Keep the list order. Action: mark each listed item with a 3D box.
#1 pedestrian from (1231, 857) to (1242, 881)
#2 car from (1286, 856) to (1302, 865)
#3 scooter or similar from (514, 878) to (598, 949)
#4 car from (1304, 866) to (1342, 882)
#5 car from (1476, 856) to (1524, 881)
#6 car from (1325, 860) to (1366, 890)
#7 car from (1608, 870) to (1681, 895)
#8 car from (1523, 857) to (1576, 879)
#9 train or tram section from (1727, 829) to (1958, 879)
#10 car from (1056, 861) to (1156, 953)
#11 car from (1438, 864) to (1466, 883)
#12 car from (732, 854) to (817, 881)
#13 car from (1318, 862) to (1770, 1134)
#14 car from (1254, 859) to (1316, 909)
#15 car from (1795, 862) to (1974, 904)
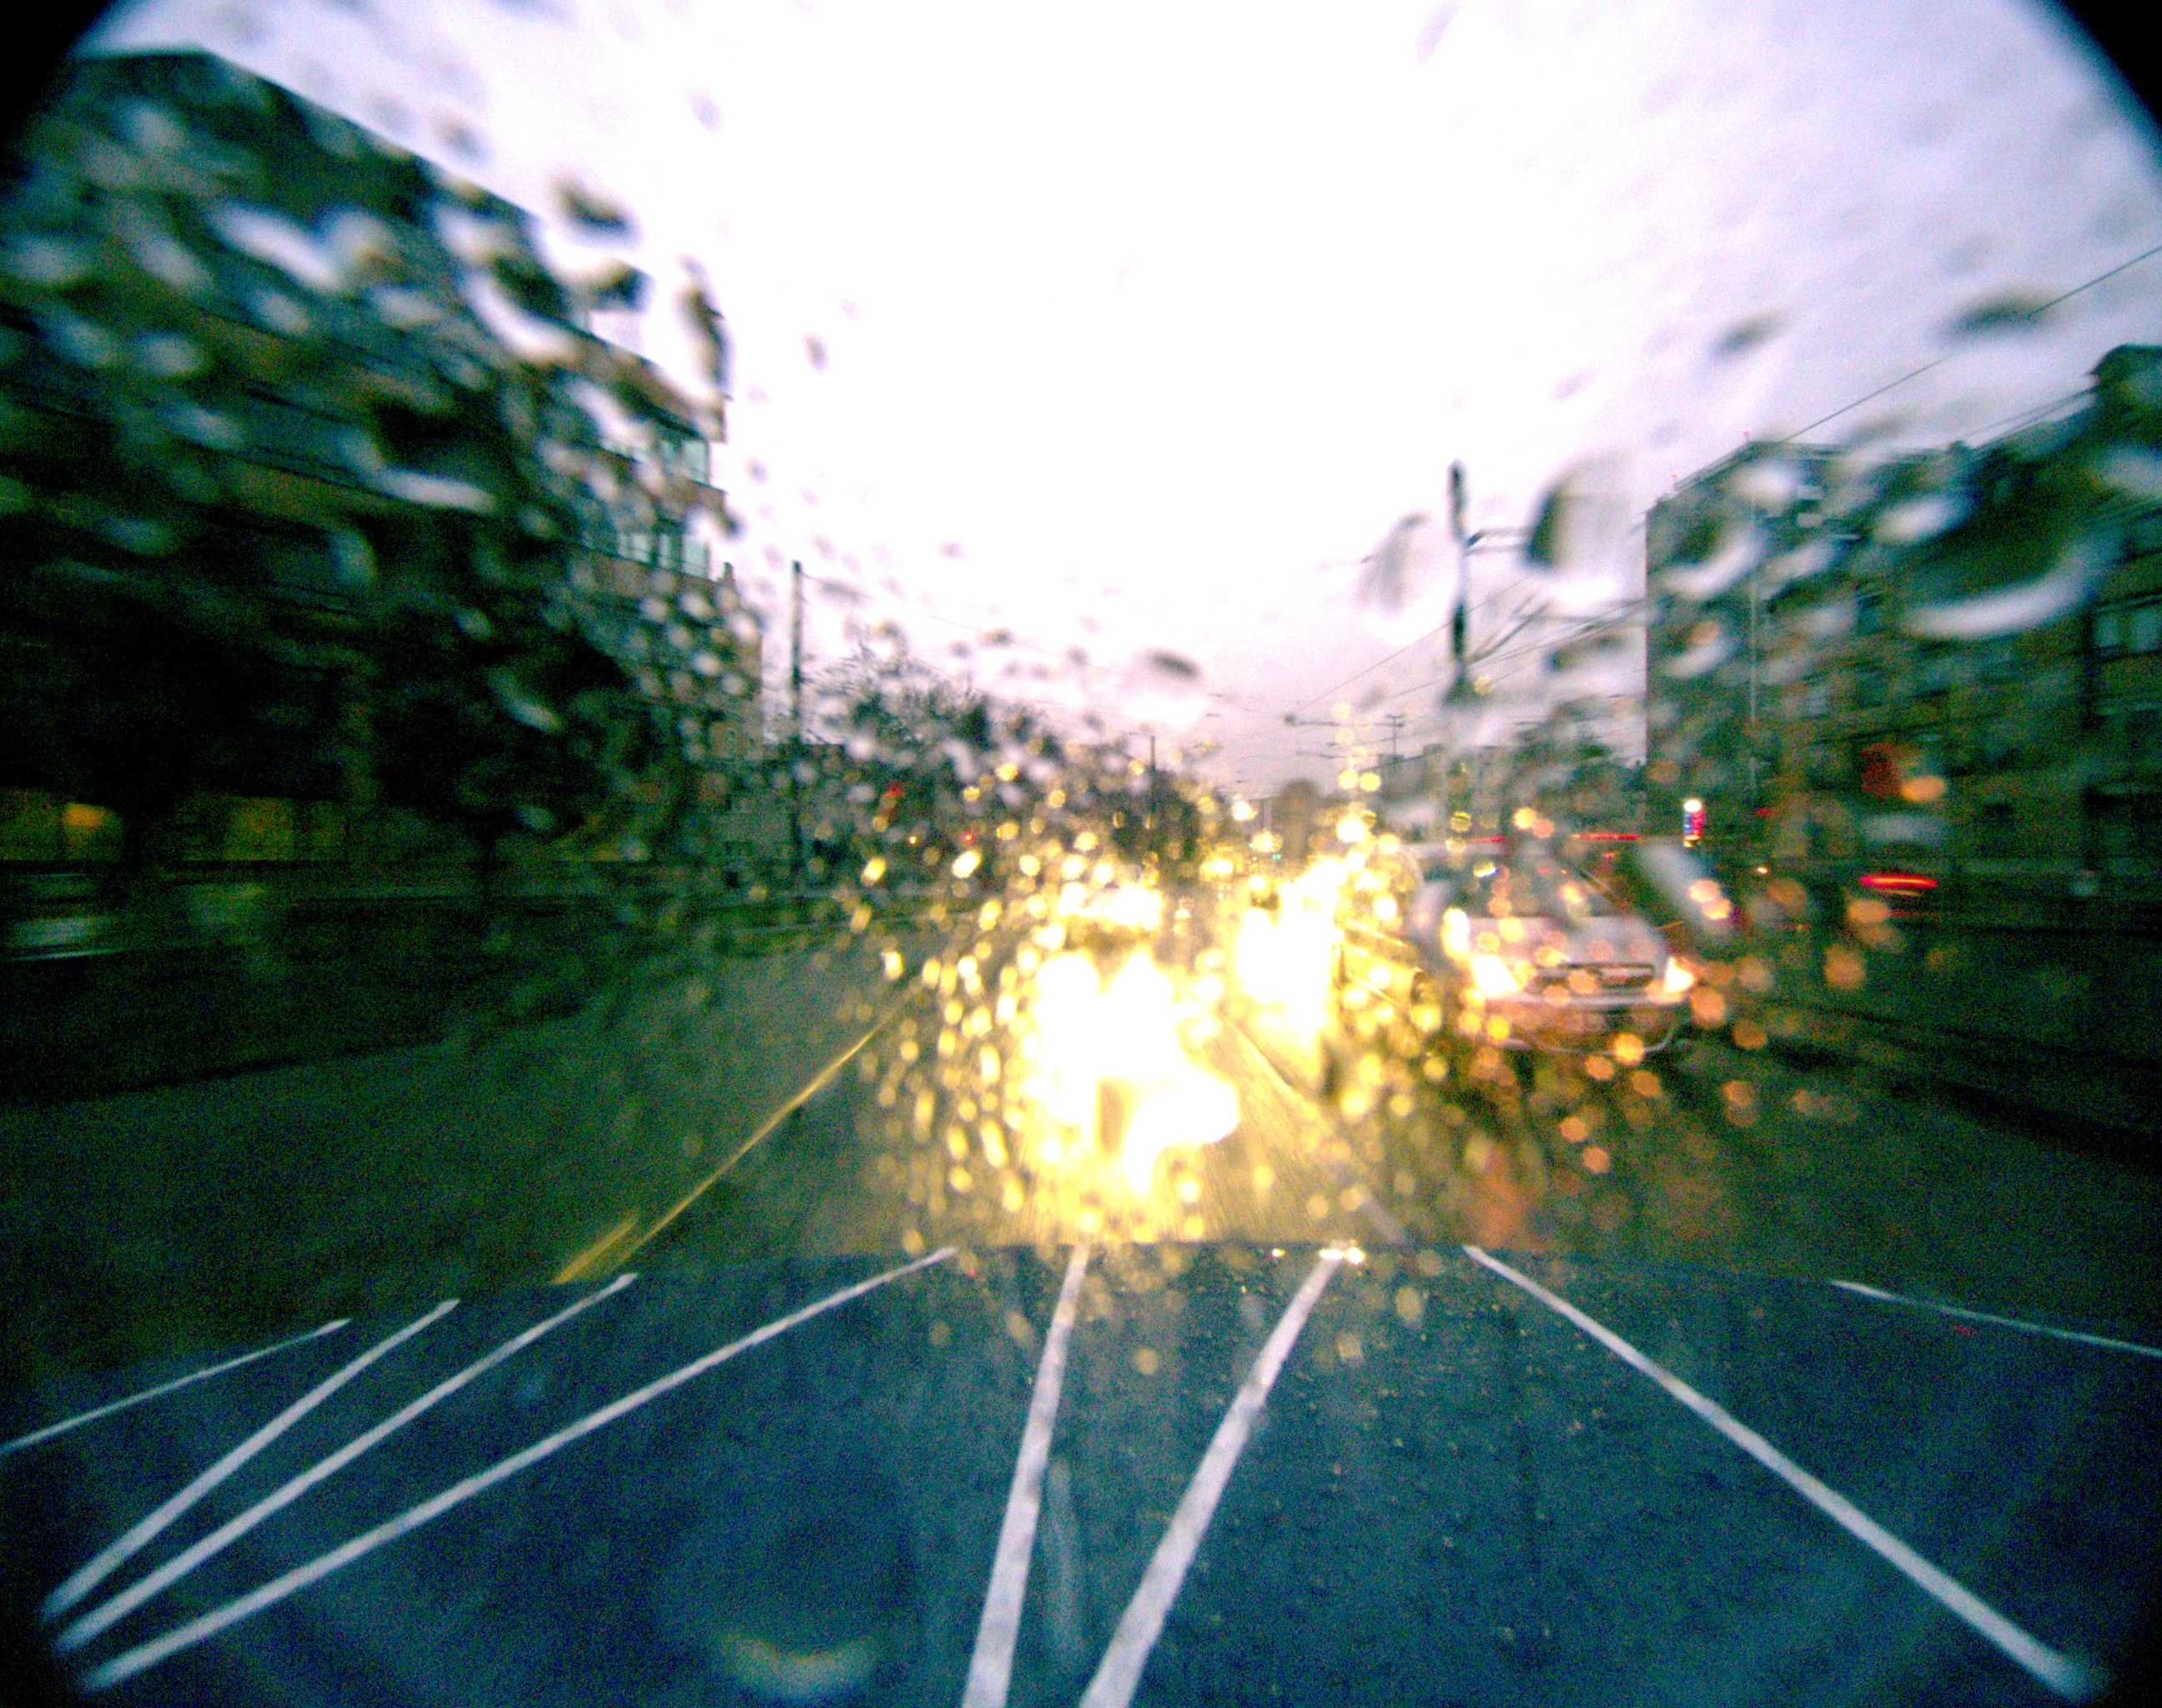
[{"bbox_3d":[12.654,1.211,61.700,0.572,1.828,0.684,6,1,25],"label":"pedestrian"},{"bbox_3d":[33.341,1.004,118.820,1.648,1.441,3.852,-1,0,3],"label":"car"},{"bbox_3d":[-9.371,1.044,13.598,1.146,1.224,0.487,0,0,-18],"label":"scooter or similar"},{"bbox_3d":[22.576,1.849,71.132,1.968,1.378,4.533,1,-1,-3],"label":"car"},{"bbox_3d":[26.500,0.894,48.210,1.682,1.544,4.126,0,0,14],"label":"car"},{"bbox_3d":[15.862,1.224,45.485,1.816,1.732,4.194,1,0,26],"label":"car"},{"bbox_3d":[27.420,1.355,37.099,1.602,1.127,3.794,0,0,16],"label":"car"},{"bbox_3d":[30.312,0.890,49.289,1.682,1.346,4.392,0,0,14],"label":"car"},{"bbox_3d":[55.012,-0.049,54.865,16.312,3.169,3.166,-1,0,-11],"label":"train or tram section"},{"bbox_3d":[0.619,0.959,15.326,1.648,1.575,3.807,-1,0,7],"label":"car"},{"bbox_3d":[30.077,1.549,61.676,1.489,1.478,3.157,0,0,15],"label":"car"},{"bbox_3d":[-18.871,0.822,46.964,4.511,1.660,1.999,0,0,-5],"label":"car"},{"bbox_3d":[3.304,0.849,6.457,1.649,1.539,4.111,-1,0,6],"label":"car"},{"bbox_3d":[6.931,0.956,25.537,1.750,1.535,4.006,1,0,19],"label":"car"},{"bbox_3d":[25.704,0.881,24.536,1.540,1.219,4.088,0,-1,1],"label":"car"}]
